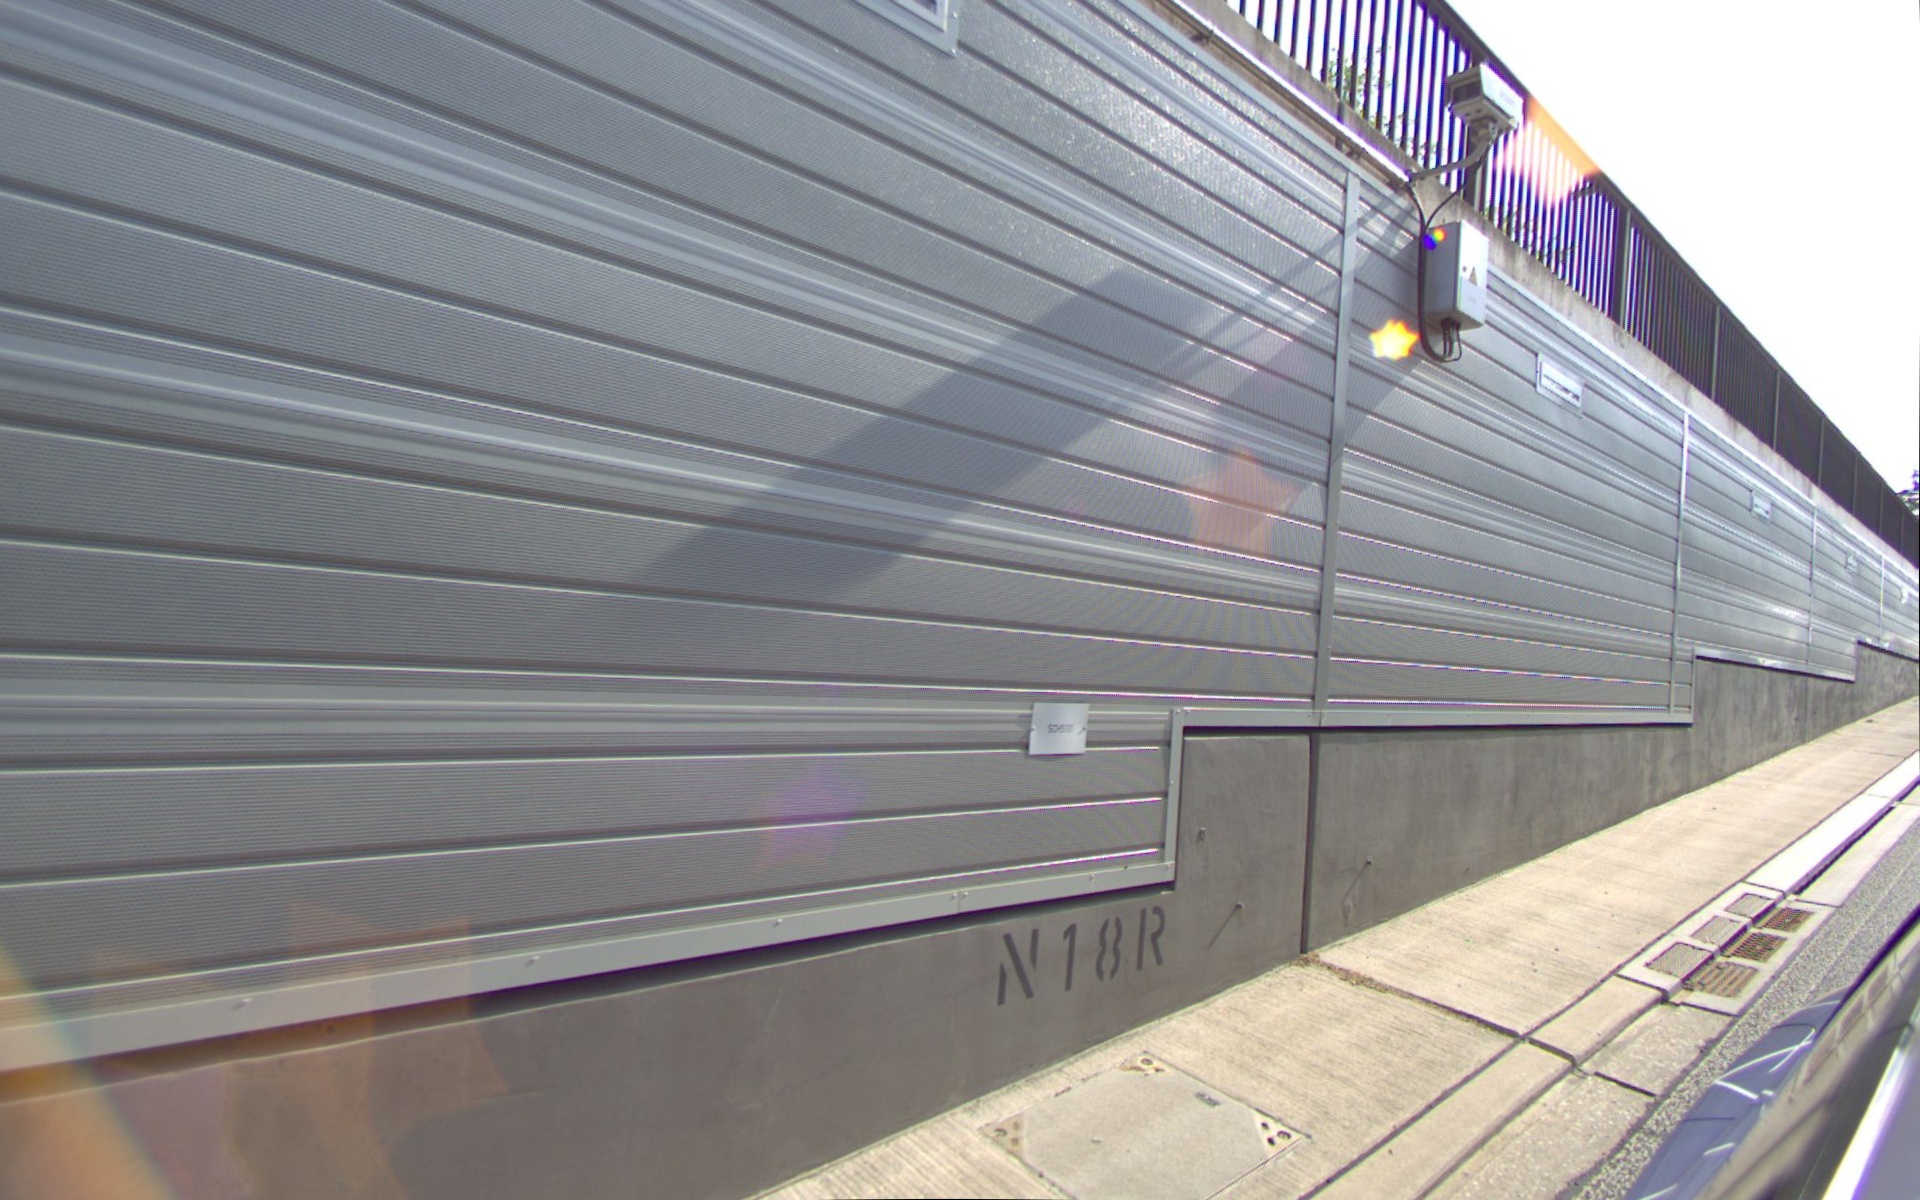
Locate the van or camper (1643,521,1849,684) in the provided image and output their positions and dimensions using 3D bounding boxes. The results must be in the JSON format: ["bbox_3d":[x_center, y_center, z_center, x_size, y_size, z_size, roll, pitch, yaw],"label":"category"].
[{"bbox_3d":[14.676,0.205,18.739,5.954,2.504,1.989,5,-4,-42],"label":"van or camper"}]

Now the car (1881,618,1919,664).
[{"bbox_3d":[37.431,1.630,39.354,4.174,1.591,1.896,6,-3,-40],"label":"car"}]
